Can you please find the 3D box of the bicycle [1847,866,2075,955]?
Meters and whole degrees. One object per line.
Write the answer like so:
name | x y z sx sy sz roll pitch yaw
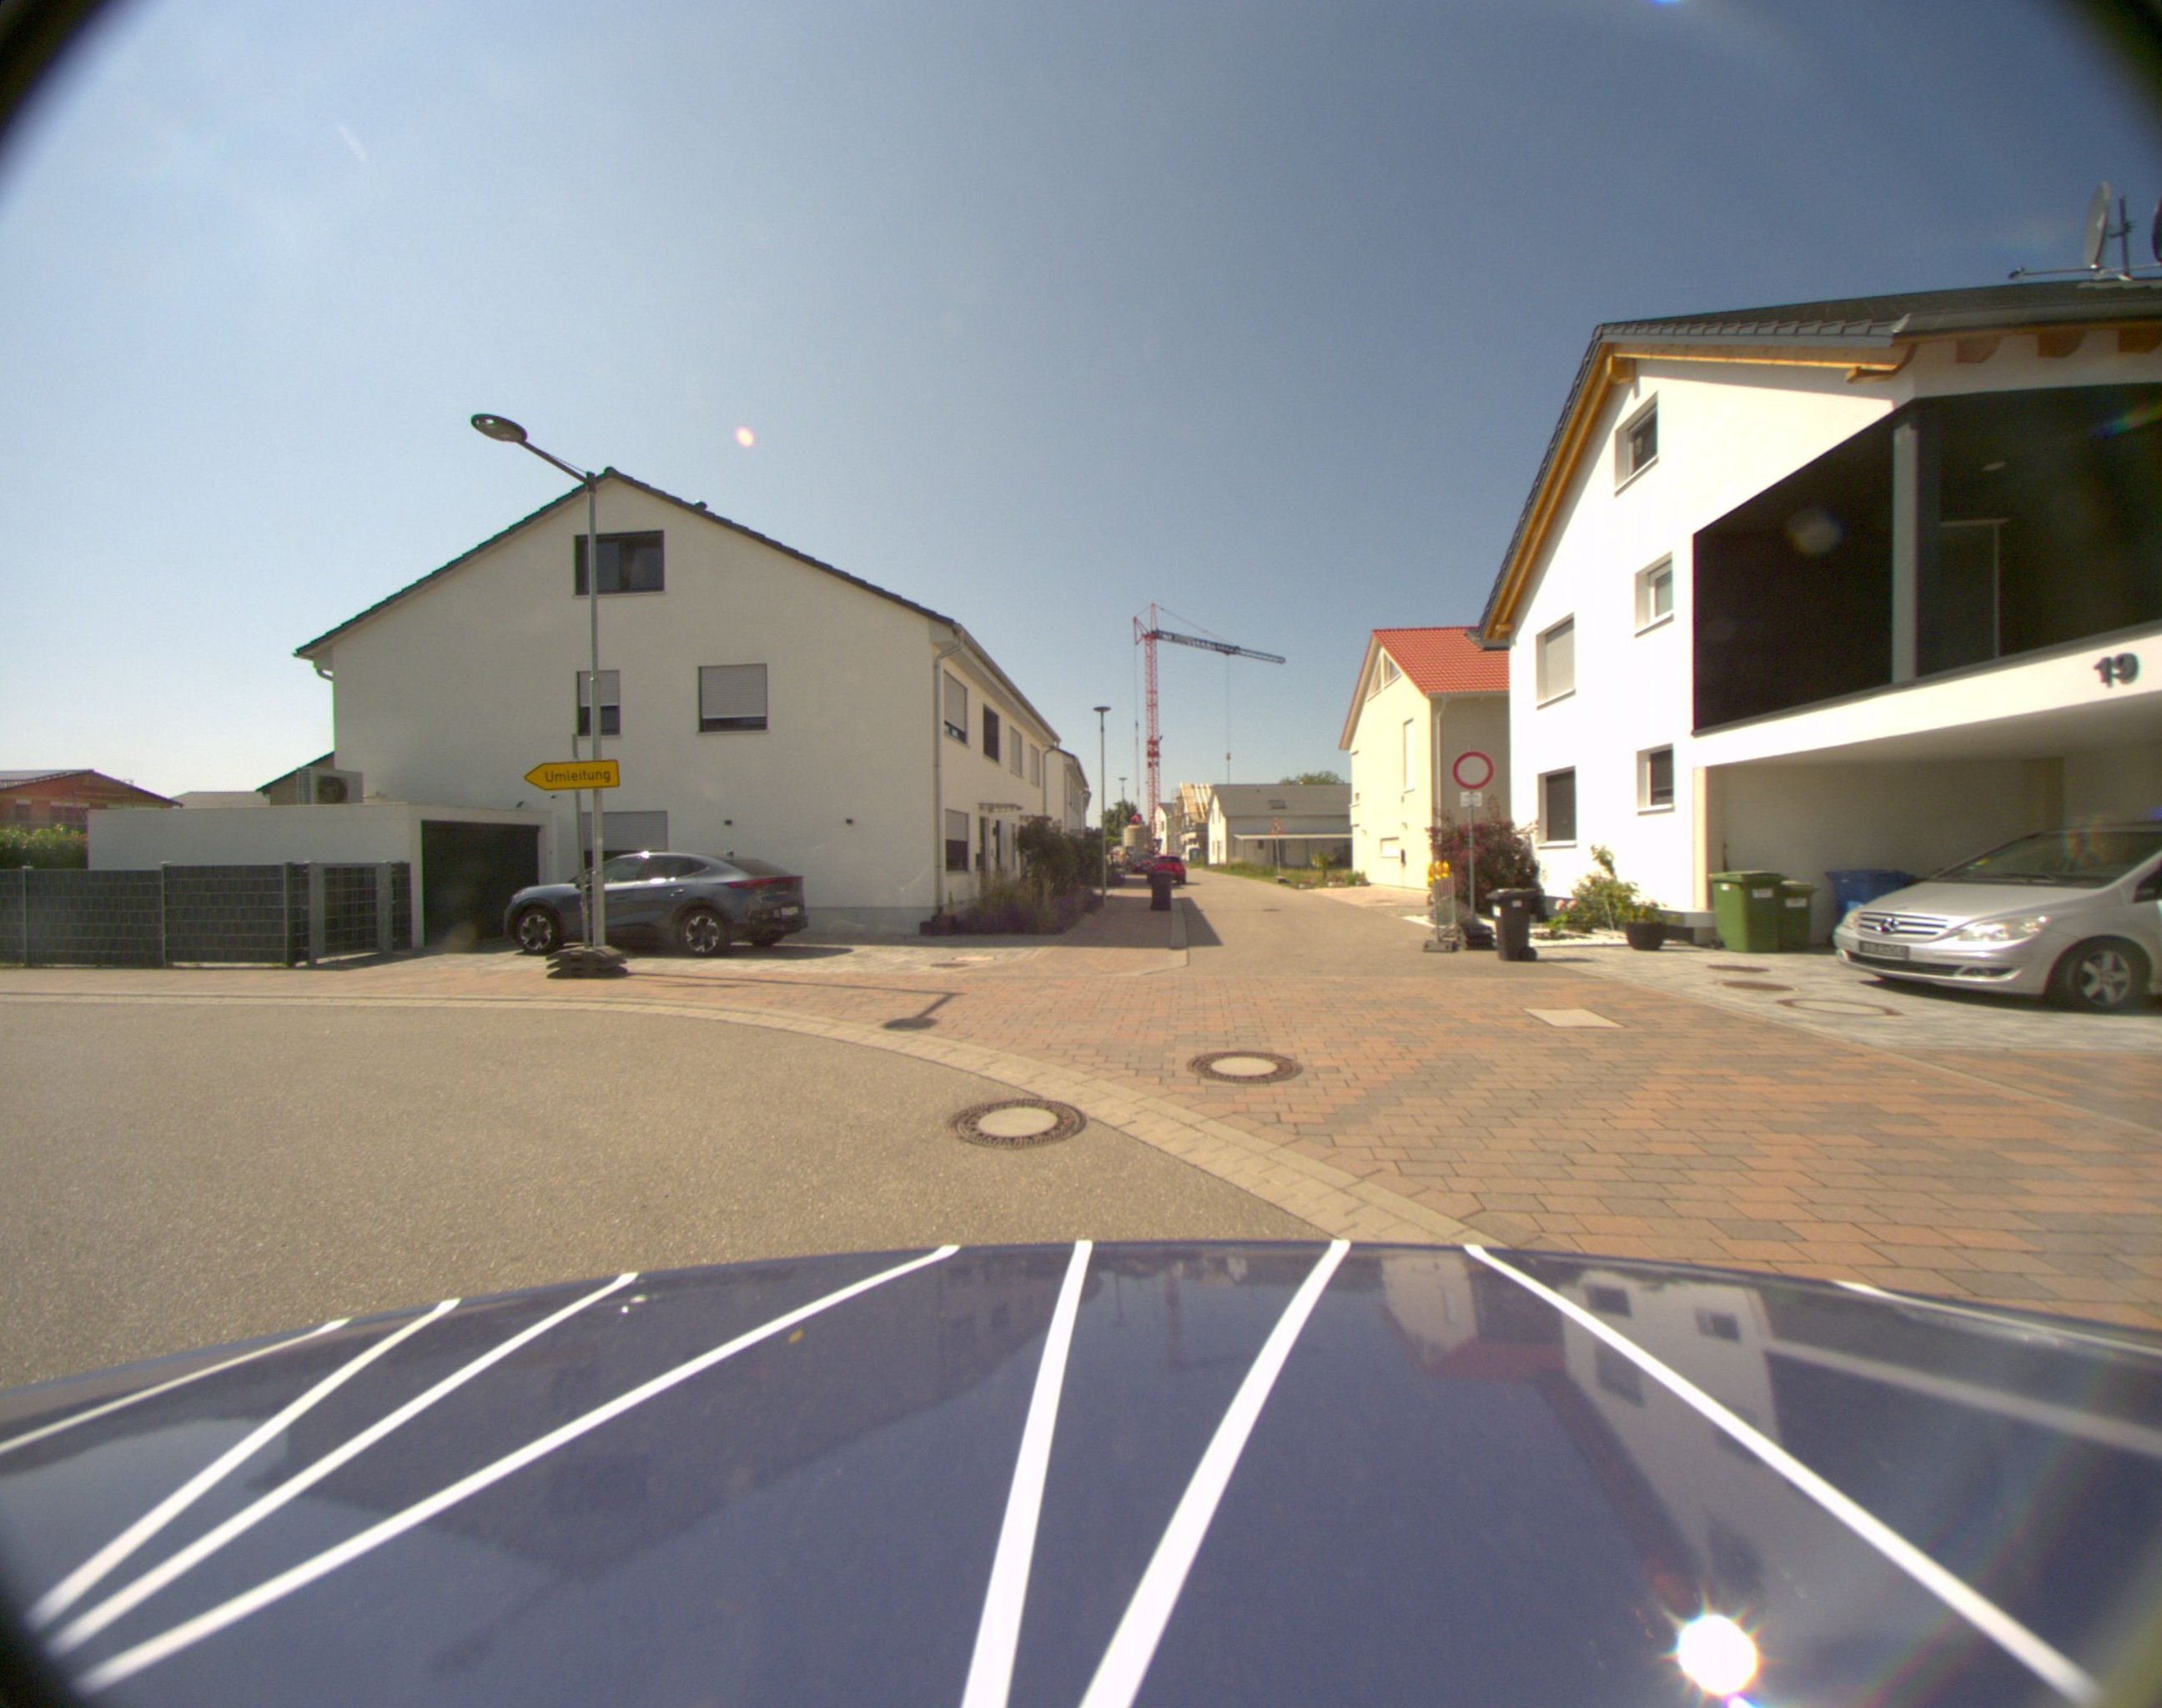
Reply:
bicycle | 11.902 0.751 10.327 2.131 1.120 0.779 -1 1 2

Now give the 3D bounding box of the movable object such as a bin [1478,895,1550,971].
movable object such as a bin | 5.612 1.016 9.875 0.618 0.931 0.565 -1 0 5

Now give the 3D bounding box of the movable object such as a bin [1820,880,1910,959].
movable object such as a bin | 10.354 0.851 10.059 0.499 0.981 0.677 -1 1 5

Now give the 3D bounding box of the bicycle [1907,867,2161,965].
bicycle | 11.751 0.747 9.387 2.130 1.120 0.731 -1 2 6

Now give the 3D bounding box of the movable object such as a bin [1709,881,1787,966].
movable object such as a bin | 8.864 0.905 10.111 0.499 1.085 0.602 -1 -1 5

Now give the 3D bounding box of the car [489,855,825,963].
car | -6.603 0.822 12.113 4.345 1.549 1.962 -1 0 8

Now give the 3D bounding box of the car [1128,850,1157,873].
car | 4.653 0.540 57.941 1.802 1.609 3.675 -1 1 -1

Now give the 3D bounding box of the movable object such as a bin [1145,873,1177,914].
movable object such as a bin | 2.165 1.070 20.568 0.823 1.058 0.590 -1 2 5

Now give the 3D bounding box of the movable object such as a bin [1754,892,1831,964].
movable object such as a bin | 9.447 0.967 10.104 0.499 0.900 0.561 -1 0 5

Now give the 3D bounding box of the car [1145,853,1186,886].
car | 4.233 0.749 38.302 1.910 1.470 4.001 -1 1 5

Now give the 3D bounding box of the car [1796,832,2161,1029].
car | 9.379 0.599 6.800 4.161 1.553 1.746 0 0 4
